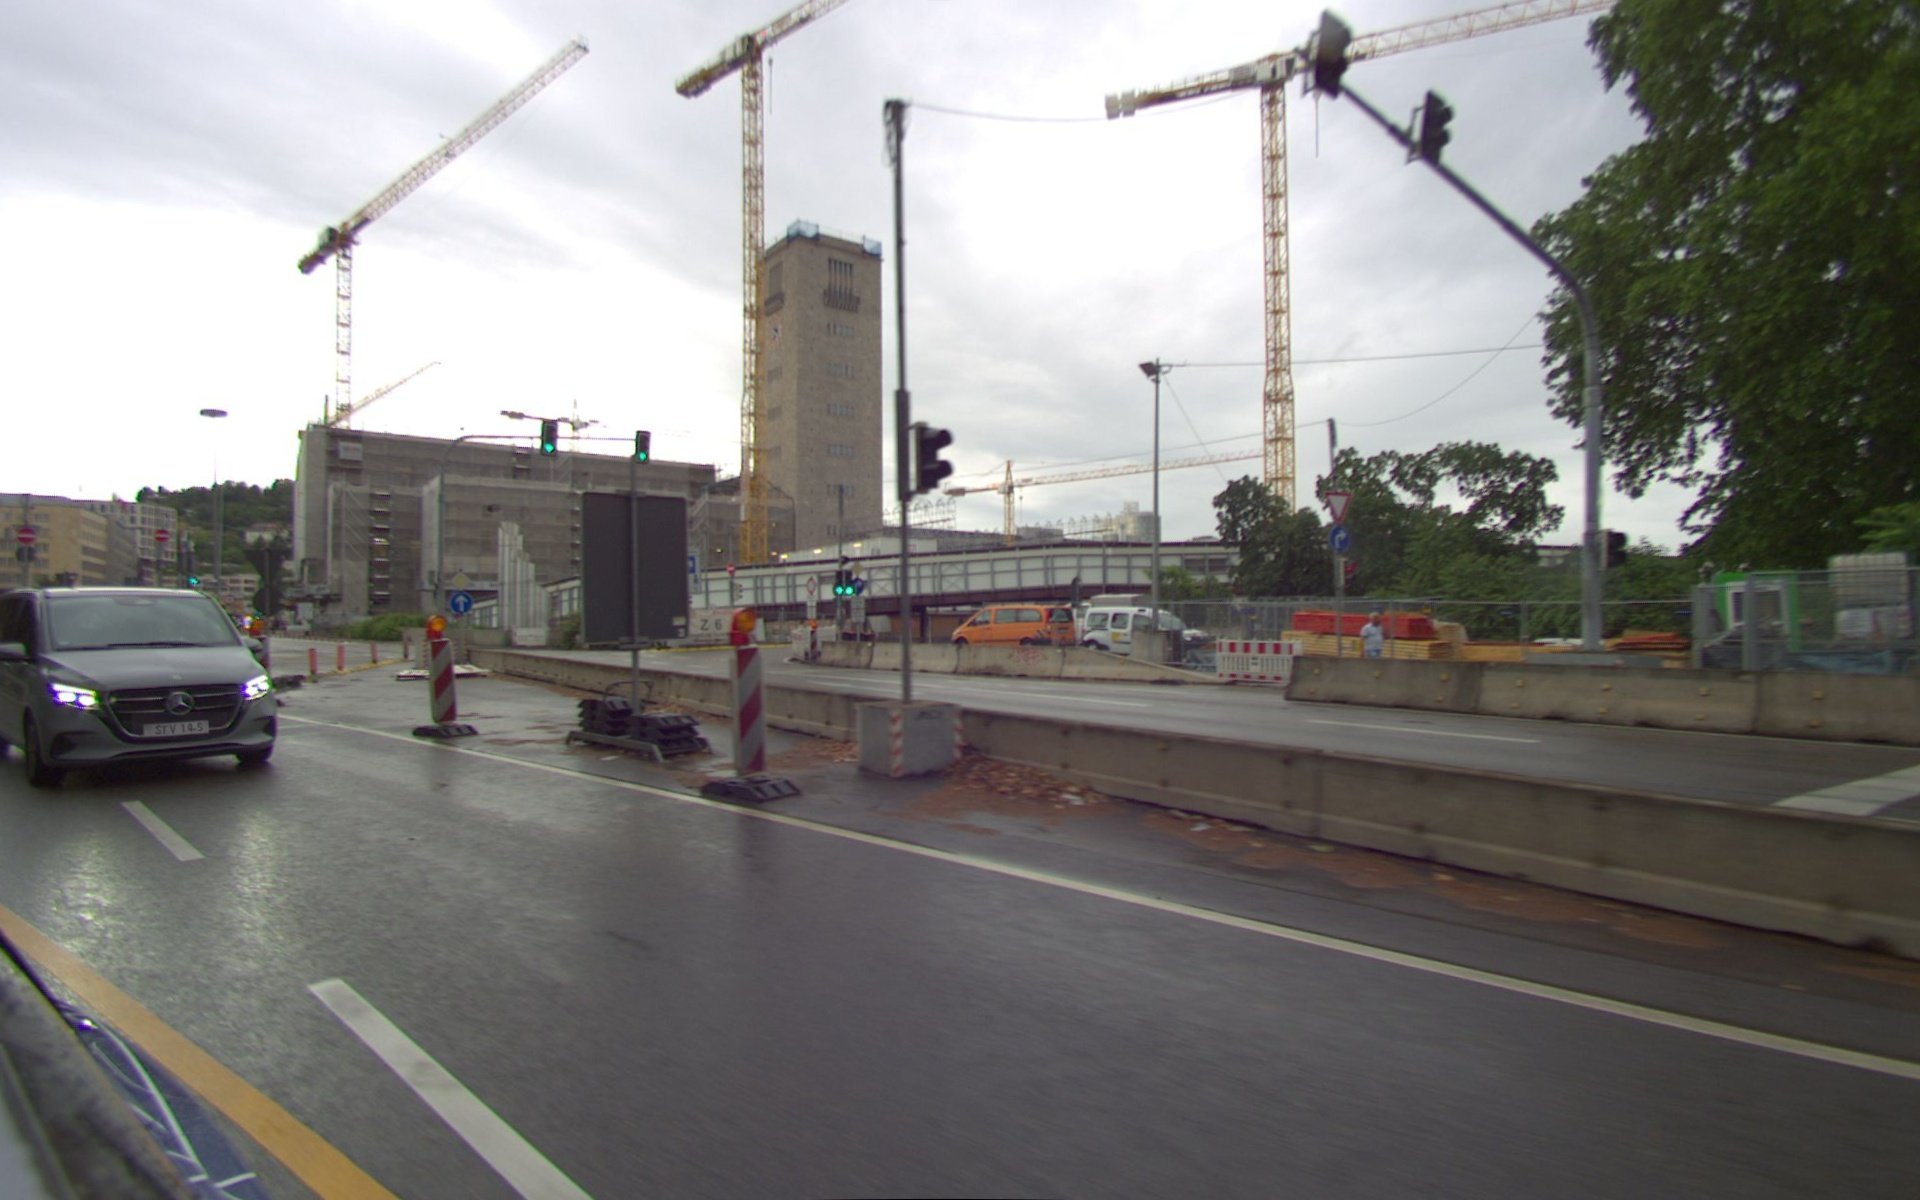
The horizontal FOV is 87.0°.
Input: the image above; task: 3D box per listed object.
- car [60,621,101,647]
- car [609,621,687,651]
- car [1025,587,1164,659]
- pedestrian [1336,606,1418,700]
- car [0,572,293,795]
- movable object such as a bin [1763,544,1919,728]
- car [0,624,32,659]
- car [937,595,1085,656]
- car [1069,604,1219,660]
[{"bbox_3d":[-62.358,2.406,71.722,1.970,1.828,4.297,2,-2,-43],"label":"car"},{"bbox_3d":[-22.032,2.553,71.536,4.970,2.029,1.994,0,-2,10],"label":"car"},{"bbox_3d":[6.058,1.050,46.288,6.171,3.089,2.248,-1,-3,44],"label":"car"},{"bbox_3d":[9.304,1.160,22.635,1.153,2.029,1.187,0,-1,-18],"label":"pedestrian"},{"bbox_3d":[-9.301,0.783,10.999,5.352,1.870,1.974,-2,-1,40],"label":"car"},{"bbox_3d":[18.575,0.651,17.918,3.886,3.152,6.393,2,-3,-44],"label":"movable object such as a bin"},{"bbox_3d":[-46.509,1.941,49.165,1.787,1.474,4.925,15,-11,-40],"label":"car"},{"bbox_3d":[1.830,0.977,38.194,5.582,2.117,1.972,-1,-4,43],"label":"car"},{"bbox_3d":[6.118,1.066,34.085,1.824,1.775,4.800,2,-3,-45],"label":"car"}]
